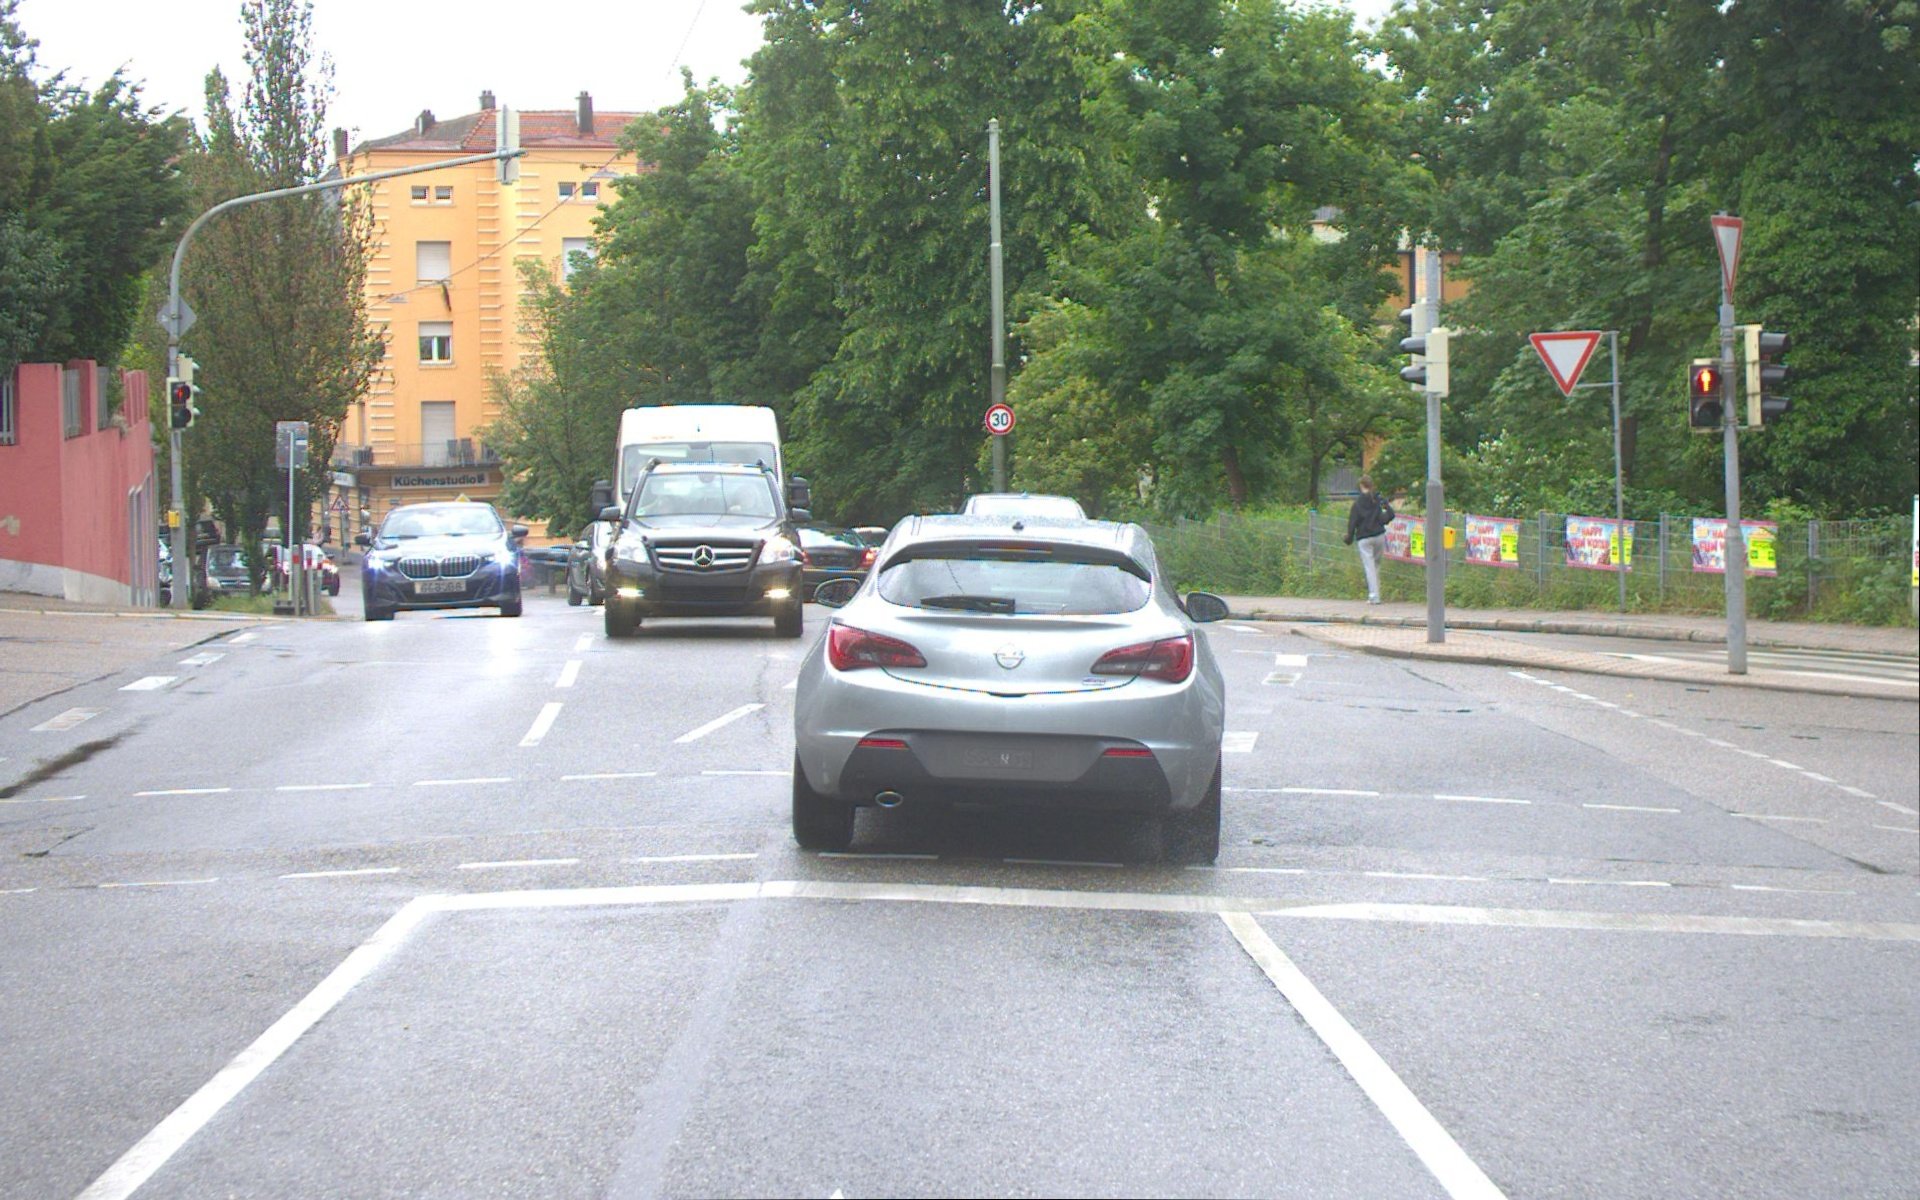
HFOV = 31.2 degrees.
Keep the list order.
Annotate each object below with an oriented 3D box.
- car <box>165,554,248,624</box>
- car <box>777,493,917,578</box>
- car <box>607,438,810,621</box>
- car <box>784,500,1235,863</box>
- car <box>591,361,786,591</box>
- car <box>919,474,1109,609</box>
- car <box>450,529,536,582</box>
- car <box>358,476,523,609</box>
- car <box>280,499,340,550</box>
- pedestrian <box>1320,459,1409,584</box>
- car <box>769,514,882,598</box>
[{"bbox_3d":[-17.829,-0.261,81.264,1.814,1.607,4.001,0,0,-14],"label":"car"},{"bbox_3d":[-2.426,-1.346,72.607,1.814,1.490,4.001,-7,2,-17],"label":"car"},{"bbox_3d":[-2.411,-0.714,33.063,1.821,1.646,4.347,0,2,-4],"label":"car"},{"bbox_3d":[0.152,0.272,15.936,1.814,1.425,4.001,-1,2,-1],"label":"car"},{"bbox_3d":[-3.270,-1.445,41.390,2.117,2.537,5.541,-1,1,-5],"label":"car"},{"bbox_3d":[0.565,-0.630,39.093,1.776,1.425,3.786,0,-1,-5],"label":"car"},{"bbox_3d":[-15.209,-1.438,111.818,1.814,1.462,4.001,-6,2,-20],"label":"car"},{"bbox_3d":[-6.463,-0.776,43.229,1.852,1.481,5.369,-2,3,-7],"label":"car"},{"bbox_3d":[-24.897,-2.871,131.632,1.781,1.848,4.001,-1,0,-18],"label":"car"},{"bbox_3d":[5.358,-1.040,45.607,0.765,1.600,0.966,-4,1,-16],"label":"pedestrian"},{"bbox_3d":[-2.415,-0.795,60.889,1.382,1.407,3.457,-2,2,-12],"label":"car"}]
